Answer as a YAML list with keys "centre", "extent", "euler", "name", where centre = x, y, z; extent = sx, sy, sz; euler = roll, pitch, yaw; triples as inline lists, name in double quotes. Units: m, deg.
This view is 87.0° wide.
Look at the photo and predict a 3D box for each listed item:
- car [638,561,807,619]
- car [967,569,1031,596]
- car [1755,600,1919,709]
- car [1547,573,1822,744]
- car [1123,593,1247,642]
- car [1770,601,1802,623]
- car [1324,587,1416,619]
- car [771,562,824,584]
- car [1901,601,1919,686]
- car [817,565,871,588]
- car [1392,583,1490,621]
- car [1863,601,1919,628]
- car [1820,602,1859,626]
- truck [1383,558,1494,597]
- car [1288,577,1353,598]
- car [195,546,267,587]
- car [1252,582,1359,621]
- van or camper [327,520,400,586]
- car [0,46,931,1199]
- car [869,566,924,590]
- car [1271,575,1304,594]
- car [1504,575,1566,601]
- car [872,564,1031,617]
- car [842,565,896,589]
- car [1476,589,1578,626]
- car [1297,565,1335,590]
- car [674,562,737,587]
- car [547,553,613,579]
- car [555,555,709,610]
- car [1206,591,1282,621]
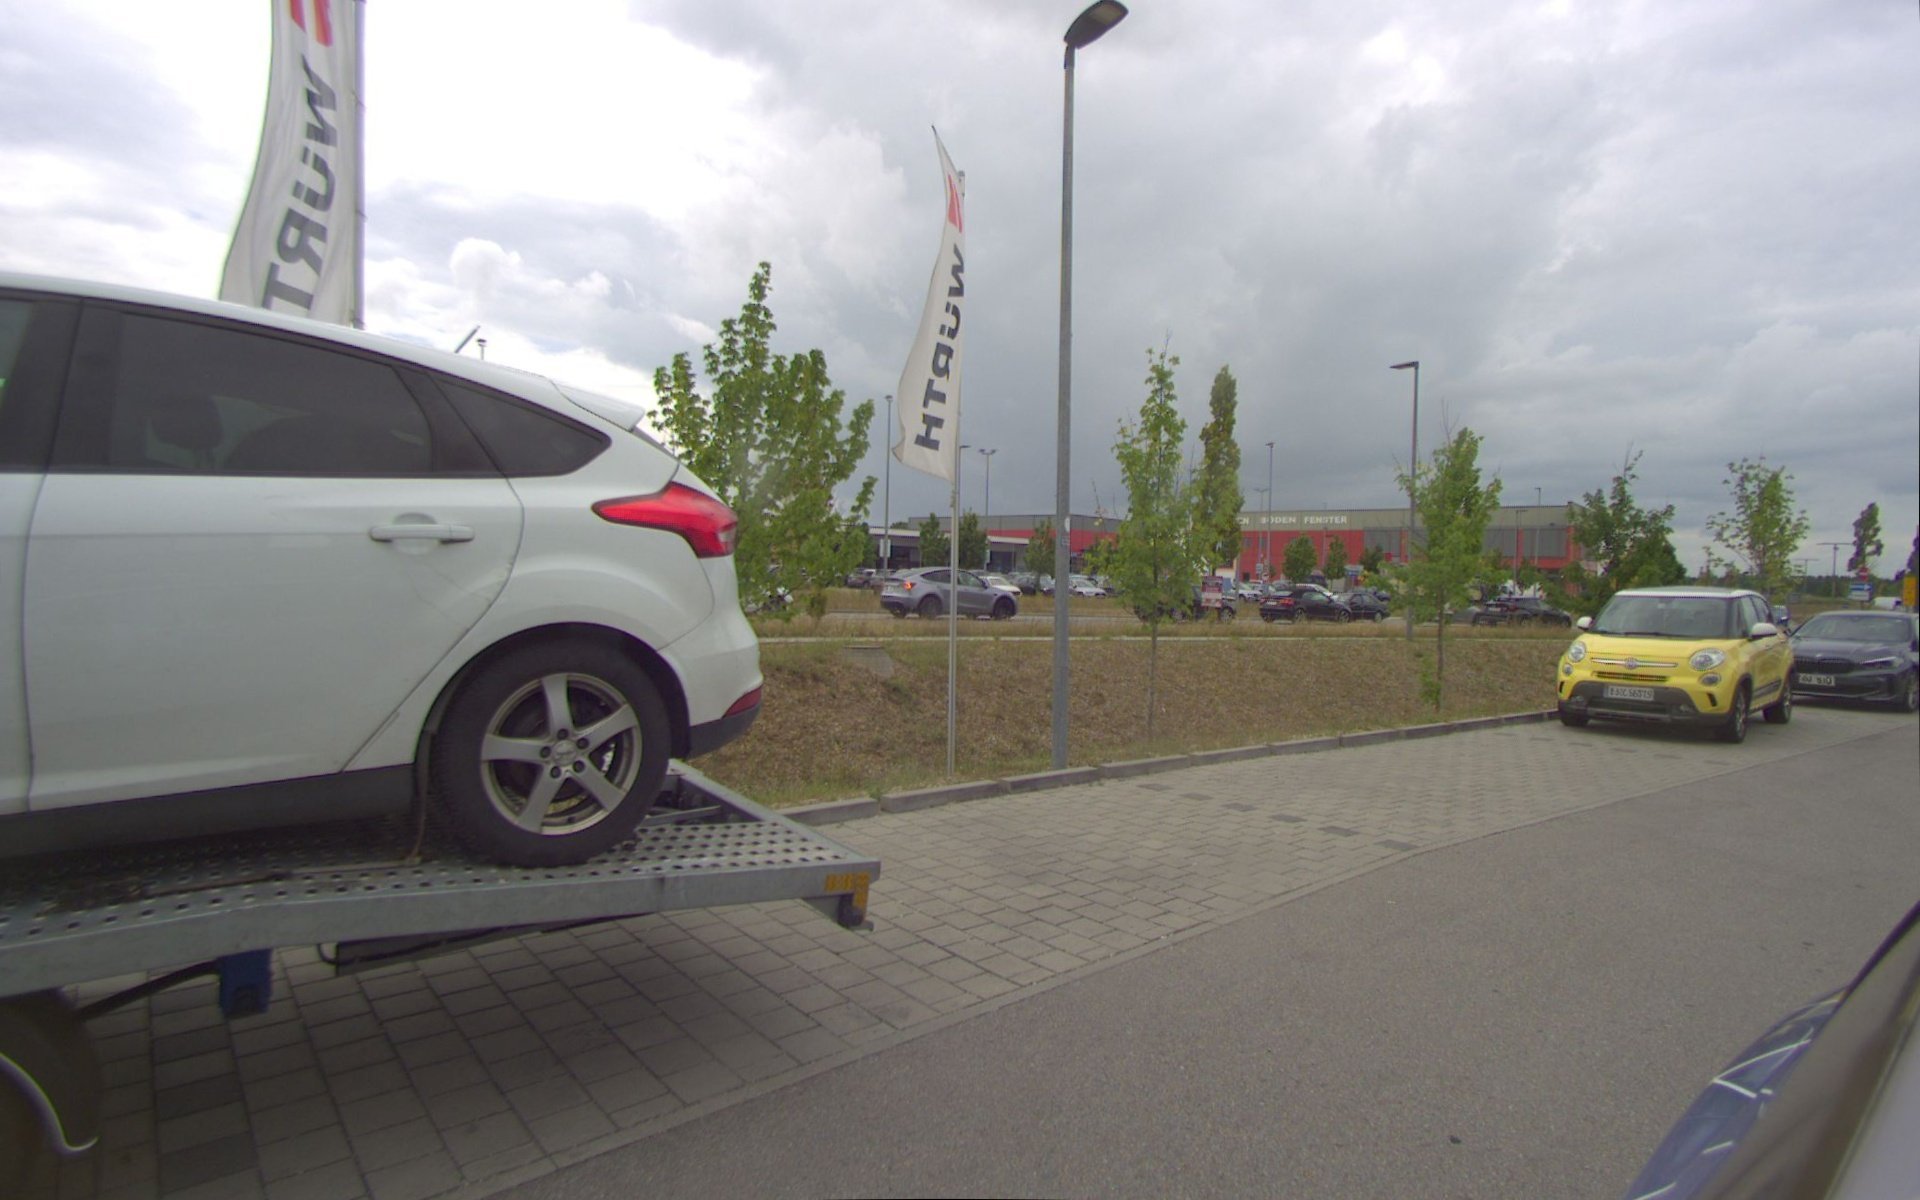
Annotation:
- centre: [-6.472, -0.285, 27.778]
  extent: [4.172, 1.468, 1.799]
  euler: [0, 2, -39]
  name: "car"
- centre: [2.239, -1.046, 59.315]
  extent: [1.743, 1.494, 4.002]
  euler: [1, 1, -34]
  name: "car"
- centre: [14.080, 0.747, 15.517]
  extent: [4.223, 1.433, 1.754]
  euler: [1, 1, -34]
  name: "car"
- centre: [8.827, 0.577, 12.194]
  extent: [4.223, 1.704, 1.750]
  euler: [0, 1, -41]
  name: "car"
- centre: [8.097, 0.616, 36.312]
  extent: [4.251, 1.588, 1.910]
  euler: [1, 1, -33]
  name: "car"
- centre: [68.818, 0.970, 84.351]
  extent: [1.990, 1.697, 3.944]
  euler: [3, 2, 39]
  name: "car"
- centre: [19.330, 0.122, 47.665]
  extent: [4.285, 1.413, 1.793]
  euler: [0, 1, -31]
  name: "car"
- centre: [-13.180, -2.206, 82.326]
  extent: [1.869, 1.660, 3.942]
  euler: [3, 1, 40]
  name: "car"
- centre: [19.356, 0.819, 18.746]
  extent: [4.542, 1.509, 1.754]
  euler: [1, 1, -33]
  name: "car"
- centre: [-9.035, -1.806, 79.117]
  extent: [1.869, 1.660, 3.942]
  euler: [3, 1, 40]
  name: "car"
- centre: [20.841, 0.097, 43.857]
  extent: [3.919, 1.513, 1.826]
  euler: [1, 1, -28]
  name: "car"
- centre: [58.996, 0.917, 63.825]
  extent: [4.284, 1.534, 2.002]
  euler: [1, 1, -33]
  name: "car"
- centre: [70.678, 1.128, 81.308]
  extent: [3.931, 1.836, 1.905]
  euler: [1, 1, -42]
  name: "car"
- centre: [38.964, -1.793, 82.472]
  extent: [8.013, 2.982, 2.685]
  euler: [1, 1, -11]
  name: "truck"
- centre: [25.950, -0.890, 72.878]
  extent: [1.962, 1.460, 4.000]
  euler: [1, 1, -35]
  name: "car"
- centre: [-28.424, -1.295, 39.399]
  extent: [1.960, 1.469, 4.145]
  euler: [1, 1, -40]
  name: "car"
- centre: [13.692, 0.046, 40.089]
  extent: [3.920, 1.415, 1.911]
  euler: [1, 1, -30]
  name: "car"
- centre: [-24.458, -1.901, 41.416]
  extent: [2.246, 2.523, 4.001]
  euler: [1, 2, -35]
  name: "van or camper"
- centre: [-3.832, 0.124, 1.703]
  extent: [7.711, 2.351, 2.201]
  euler: [0, 2, -37]
  name: "car"
- centre: [-4.656, -1.647, 74.879]
  extent: [1.869, 1.660, 3.942]
  euler: [3, 1, 40]
  name: "car"
- centre: [30.532, -1.479, 94.378]
  extent: [1.754, 1.674, 3.785]
  euler: [2, 2, 37]
  name: "car"
- centre: [50.440, -1.075, 88.811]
  extent: [4.419, 2.149, 1.971]
  euler: [2, 1, 41]
  name: "car"
- centre: [-0.218, -0.285, 31.719]
  extent: [4.792, 1.527, 1.811]
  euler: [1, 2, -36]
  name: "car"
- centre: [-6.904, -1.737, 77.286]
  extent: [1.869, 1.660, 3.942]
  euler: [3, 1, 40]
  name: "car"
- centre: [22.743, 0.292, 40.590]
  extent: [3.919, 1.371, 1.762]
  euler: [1, 1, -29]
  name: "car"
- centre: [32.558, -2.056, 92.388]
  extent: [2.015, 2.232, 4.290]
  euler: [2, 2, 38]
  name: "car"
- centre: [-18.046, -1.808, 71.857]
  extent: [1.869, 1.660, 3.942]
  euler: [3, 1, 40]
  name: "car"
- centre: [-26.631, -2.377, 71.043]
  extent: [1.869, 1.660, 3.942]
  euler: [3, 1, 40]
  name: "car"
- centre: [-9.657, -0.500, 29.853]
  extent: [3.978, 1.499, 1.759]
  euler: [1, 1, -35]
  name: "car"
- centre: [16.229, 0.326, 58.004]
  extent: [1.959, 1.549, 4.006]
  euler: [1, 1, -27]
  name: "car"
